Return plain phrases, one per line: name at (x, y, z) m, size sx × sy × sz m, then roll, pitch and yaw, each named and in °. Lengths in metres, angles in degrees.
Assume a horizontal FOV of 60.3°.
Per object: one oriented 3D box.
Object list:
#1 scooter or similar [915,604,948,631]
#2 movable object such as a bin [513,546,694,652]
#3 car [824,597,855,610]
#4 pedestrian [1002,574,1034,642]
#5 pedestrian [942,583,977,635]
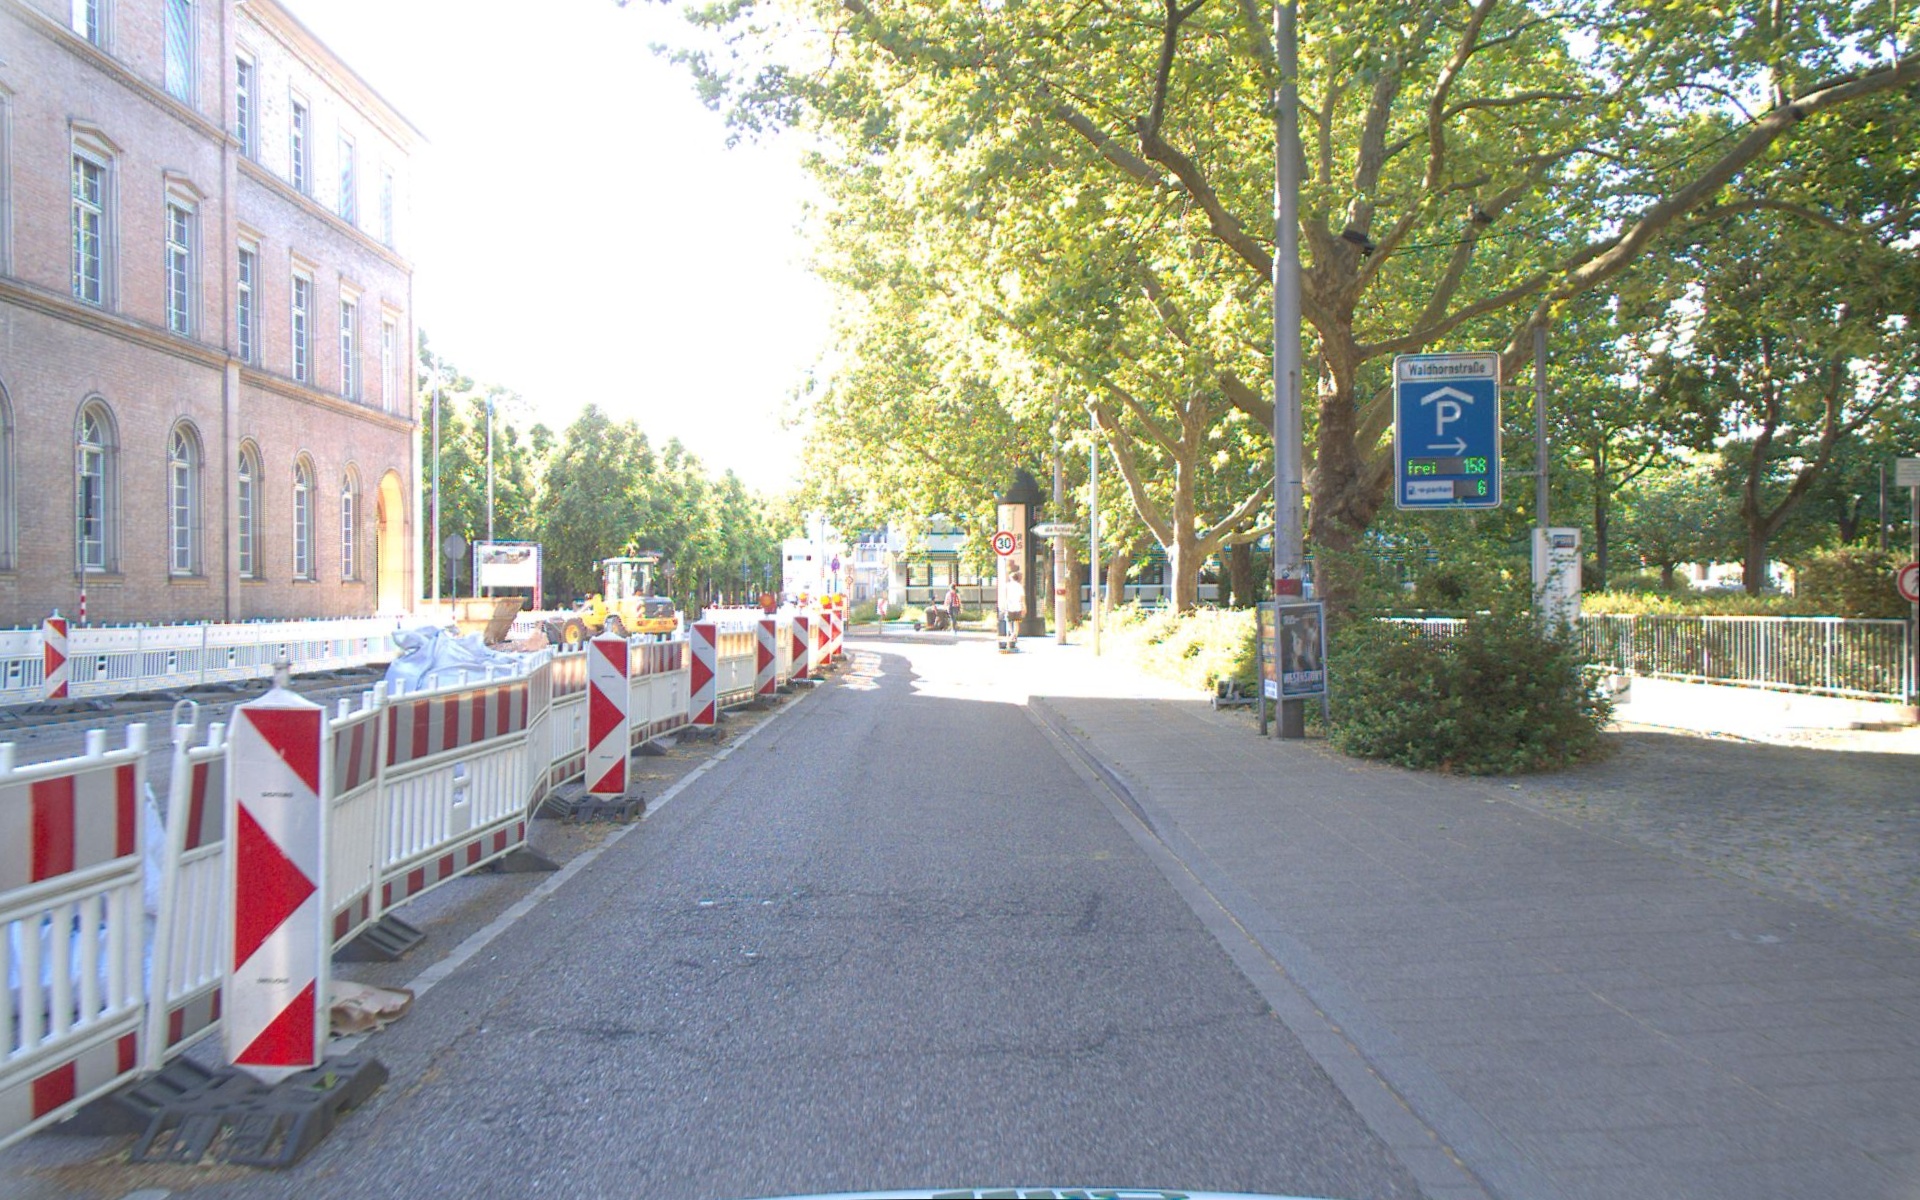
scooter or similar at (-1.025, 0.646, 59.849) m, size 1.126 × 0.930 × 0.418 m, roll -3°, pitch -1°, yaw -9°
movable object such as a bin at (-11.078, -0.010, 51.165) m, size 5.827 × 3.084 × 2.551 m, roll -2°, pitch 0°, yaw 43°
car at (-17.902, 0.498, 246.083) m, size 4.466 × 1.822 × 1.999 m, roll 0°, pitch 0°, yaw -3°
pedestrian at (1.600, 0.212, 45.511) m, size 0.730 × 1.844 × 1.132 m, roll 0°, pitch 1°, yaw -6°
pedestrian at (-0.016, 0.281, 52.972) m, size 0.702 × 1.652 × 0.928 m, roll -1°, pitch -1°, yaw -33°
